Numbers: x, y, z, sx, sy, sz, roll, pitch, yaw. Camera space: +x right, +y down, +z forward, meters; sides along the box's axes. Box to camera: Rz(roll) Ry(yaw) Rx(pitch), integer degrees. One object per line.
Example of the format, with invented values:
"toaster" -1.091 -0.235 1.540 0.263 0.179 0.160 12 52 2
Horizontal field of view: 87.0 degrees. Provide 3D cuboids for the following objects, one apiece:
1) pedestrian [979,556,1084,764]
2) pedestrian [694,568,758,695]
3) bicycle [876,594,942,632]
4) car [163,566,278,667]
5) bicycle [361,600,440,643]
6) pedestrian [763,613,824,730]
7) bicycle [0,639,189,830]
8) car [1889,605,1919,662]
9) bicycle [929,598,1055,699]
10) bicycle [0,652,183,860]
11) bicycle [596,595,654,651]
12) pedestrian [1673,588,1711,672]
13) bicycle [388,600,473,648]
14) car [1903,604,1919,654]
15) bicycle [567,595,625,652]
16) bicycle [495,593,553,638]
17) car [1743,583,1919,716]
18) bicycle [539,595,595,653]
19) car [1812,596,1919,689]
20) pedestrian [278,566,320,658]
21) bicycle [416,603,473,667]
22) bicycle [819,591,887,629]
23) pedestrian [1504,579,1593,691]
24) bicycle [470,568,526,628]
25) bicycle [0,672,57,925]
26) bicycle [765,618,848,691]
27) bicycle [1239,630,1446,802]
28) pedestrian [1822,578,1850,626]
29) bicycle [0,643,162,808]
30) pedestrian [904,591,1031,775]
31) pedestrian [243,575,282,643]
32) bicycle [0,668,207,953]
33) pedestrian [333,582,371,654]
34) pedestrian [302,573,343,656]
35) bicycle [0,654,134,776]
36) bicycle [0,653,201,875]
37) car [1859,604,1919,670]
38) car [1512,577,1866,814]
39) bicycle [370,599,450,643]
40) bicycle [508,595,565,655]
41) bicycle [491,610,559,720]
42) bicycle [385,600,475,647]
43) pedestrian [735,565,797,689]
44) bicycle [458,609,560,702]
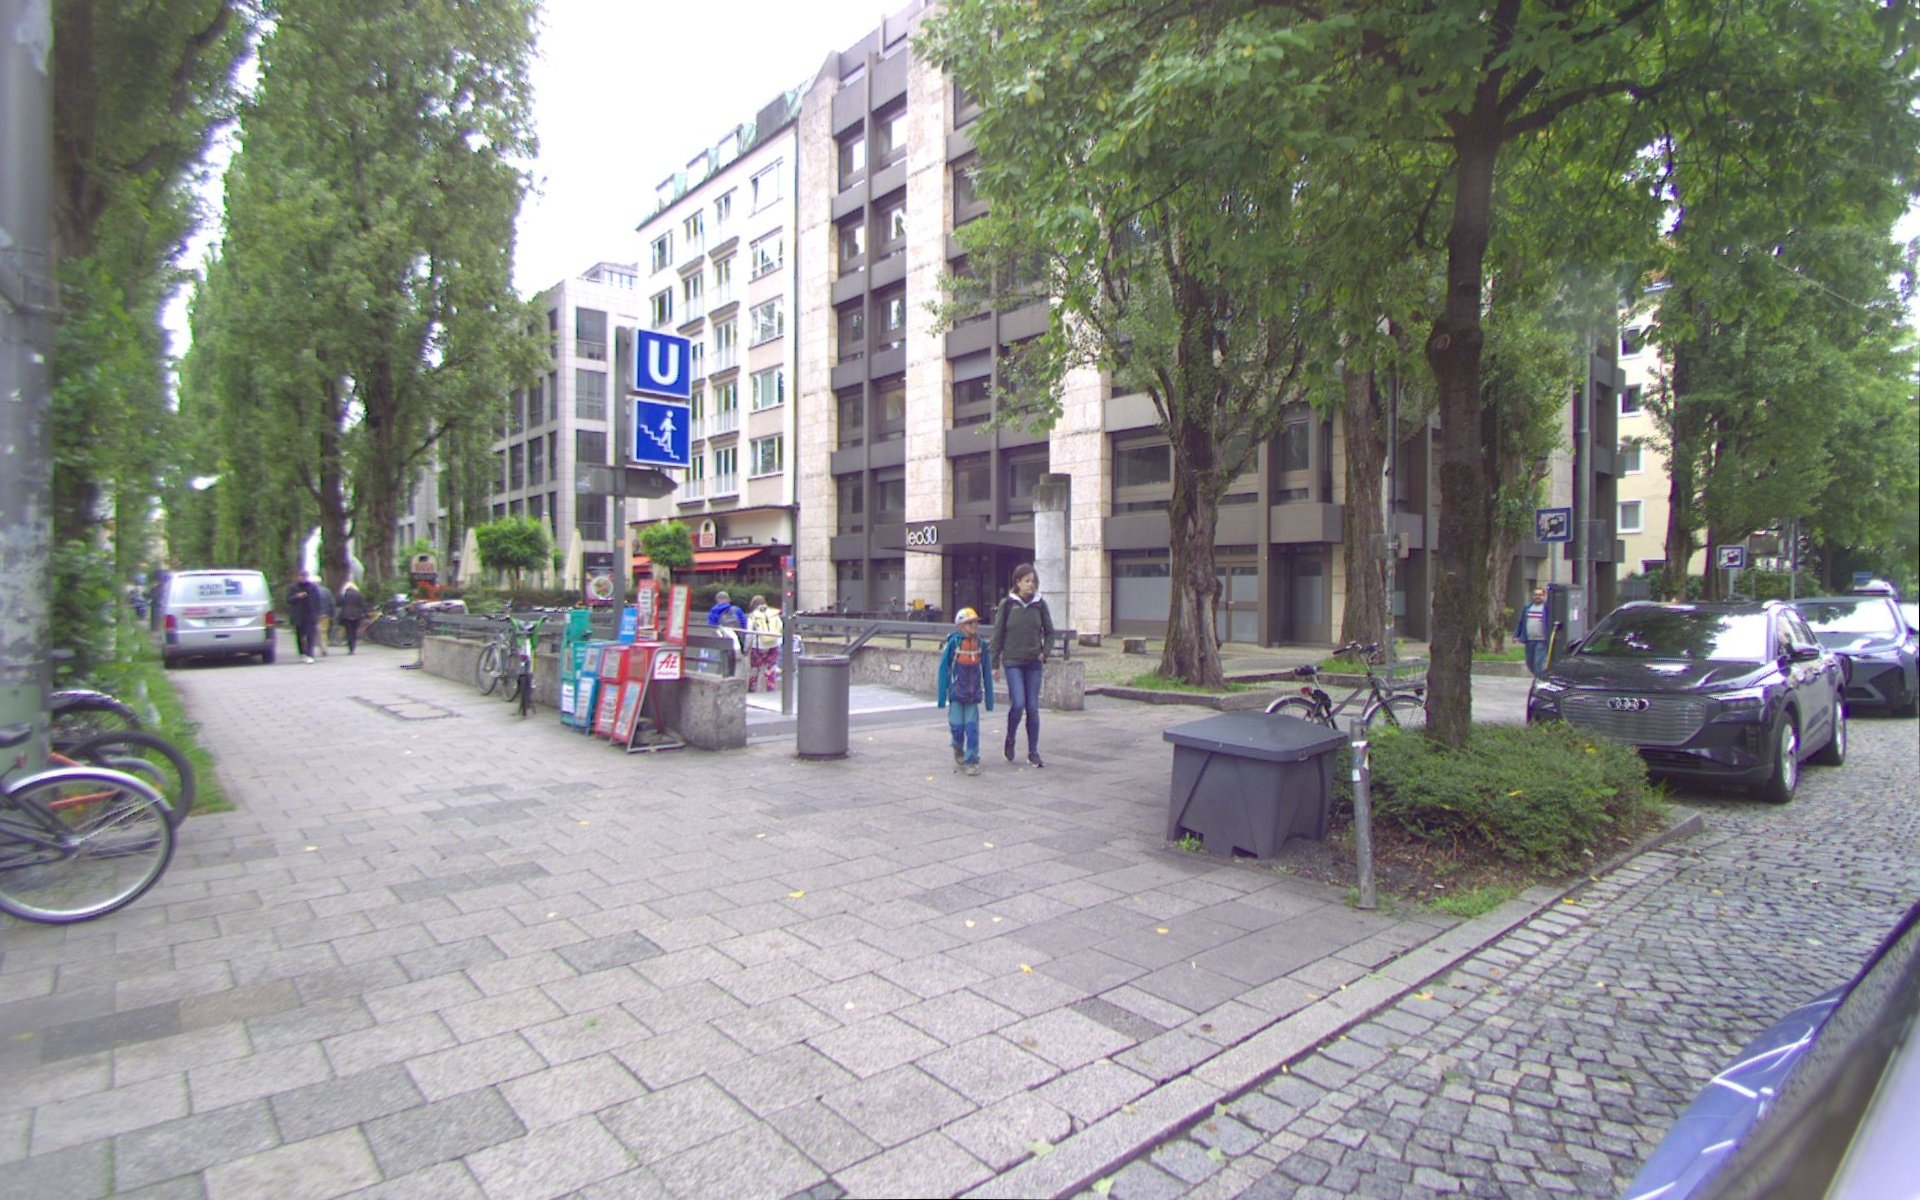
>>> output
"pedestrian" 0.615 0.491 8.793 0.650 1.722 0.692 0 0 -25
"pedestrian" -3.306 0.426 14.269 0.651 1.718 0.806 0 0 -31
"bicycle" -1.637 0.394 32.535 2.207 1.170 0.647 0 0 -41
"car" -16.023 0.308 21.804 1.782 1.920 5.197 0 0 -39
"bicycle" -15.476 0.582 28.020 1.835 1.174 0.587 0 0 -39
"pedestrian" -2.602 1.087 15.783 0.700 1.746 0.669 0 0 -41
"bicycle" -6.084 0.852 6.392 1.897 1.119 0.512 -1 1 -41
"car" 25.825 0.843 26.682 3.501 1.449 1.602 0 -2 -42
"bicycle" 0.420 0.629 14.056 0.709 1.293 1.867 0 0 -39
"bicycle" -5.482 0.885 5.605 1.843 1.063 0.475 -2 1 -39
"bicycle" -7.340 0.470 22.137 0.577 1.174 1.867 0 0 -39
"pedestrian" 14.651 0.586 20.260 0.558 1.649 0.489 0 0 -38
"bicycle" -13.432 0.595 25.684 1.835 1.174 0.587 0 0 -39
"car" 29.283 0.812 29.720 3.807 1.405 1.996 0 -1 -42
"bicycle" -7.833 0.476 21.740 0.577 1.174 1.867 0 0 -39
"bicycle" -11.807 0.405 27.367 1.857 1.174 0.580 1 0 36
"car" 13.603 0.640 15.357 4.594 1.722 2.015 0 0 -43
"bicycle" -8.302 0.484 21.340 0.577 1.174 1.867 0 0 -39
"car" 17.762 0.726 19.169 4.269 1.603 1.996 0 0 -43
"pedestrian" -13.701 0.239 20.973 0.687 1.864 0.706 0 0 -38
"bicycle" -10.012 0.646 19.618 0.577 1.174 1.982 0 0 -39
"bicycle" -3.425 0.309 32.546 2.207 1.170 0.647 0 0 -41
"pedestrian" 9.465 0.537 16.285 0.893 1.735 0.871 0 0 -22
"bicycle" -9.452 -0.046 20.670 0.577 1.174 1.867 0 0 -39
"bicycle" -4.913 0.875 4.092 1.843 1.064 0.475 1 0 -39
"bicycle" -2.723 0.923 17.783 0.577 1.174 1.867 0 0 -39
"bicycle" 2.964 0.832 7.759 1.840 1.151 0.476 0 0 -32
"pedestrian" 28.973 0.058 33.456 0.697 1.557 0.644 0 0 -44
"bicycle" -6.669 0.872 6.981 1.799 1.051 0.513 -1 1 -36
"pedestrian" 0.054 0.650 8.447 0.801 1.437 0.772 0 0 -25
"pedestrian" -20.004 0.246 29.025 0.902 1.890 1.014 0 0 -36
"bicycle" -4.164 0.874 4.009 0.474 1.064 1.847 0 1 44
"pedestrian" -13.978 0.403 23.262 0.685 1.626 0.833 0 0 -36
"pedestrian" -14.446 0.312 22.919 0.736 1.826 0.843 0 0 -36
"bicycle" -7.247 0.865 7.424 1.799 0.828 0.472 -1 1 -36
"bicycle" -5.120 0.869 5.269 1.843 1.063 0.475 -2 1 -39
"car" 22.380 0.808 23.514 4.133 1.408 1.721 -1 -2 -42
"car" 6.953 0.690 9.485 4.130 1.722 1.922 0 0 -43
"bicycle" -15.004 0.556 27.630 1.835 1.174 0.587 0 0 -39
"bicycle" -8.786 0.486 20.953 0.577 1.174 1.867 0 0 -39
"bicycle" -5.218 0.726 12.093 0.576 1.174 1.871 0 0 -28
"bicycle" -13.754 0.589 26.287 1.995 1.174 0.587 0 0 -39
"pedestrian" -2.771 0.369 14.421 0.598 1.701 0.846 0 0 -31
"bicycle" -6.276 0.729 14.036 1.861 1.174 0.579 0 0 42
